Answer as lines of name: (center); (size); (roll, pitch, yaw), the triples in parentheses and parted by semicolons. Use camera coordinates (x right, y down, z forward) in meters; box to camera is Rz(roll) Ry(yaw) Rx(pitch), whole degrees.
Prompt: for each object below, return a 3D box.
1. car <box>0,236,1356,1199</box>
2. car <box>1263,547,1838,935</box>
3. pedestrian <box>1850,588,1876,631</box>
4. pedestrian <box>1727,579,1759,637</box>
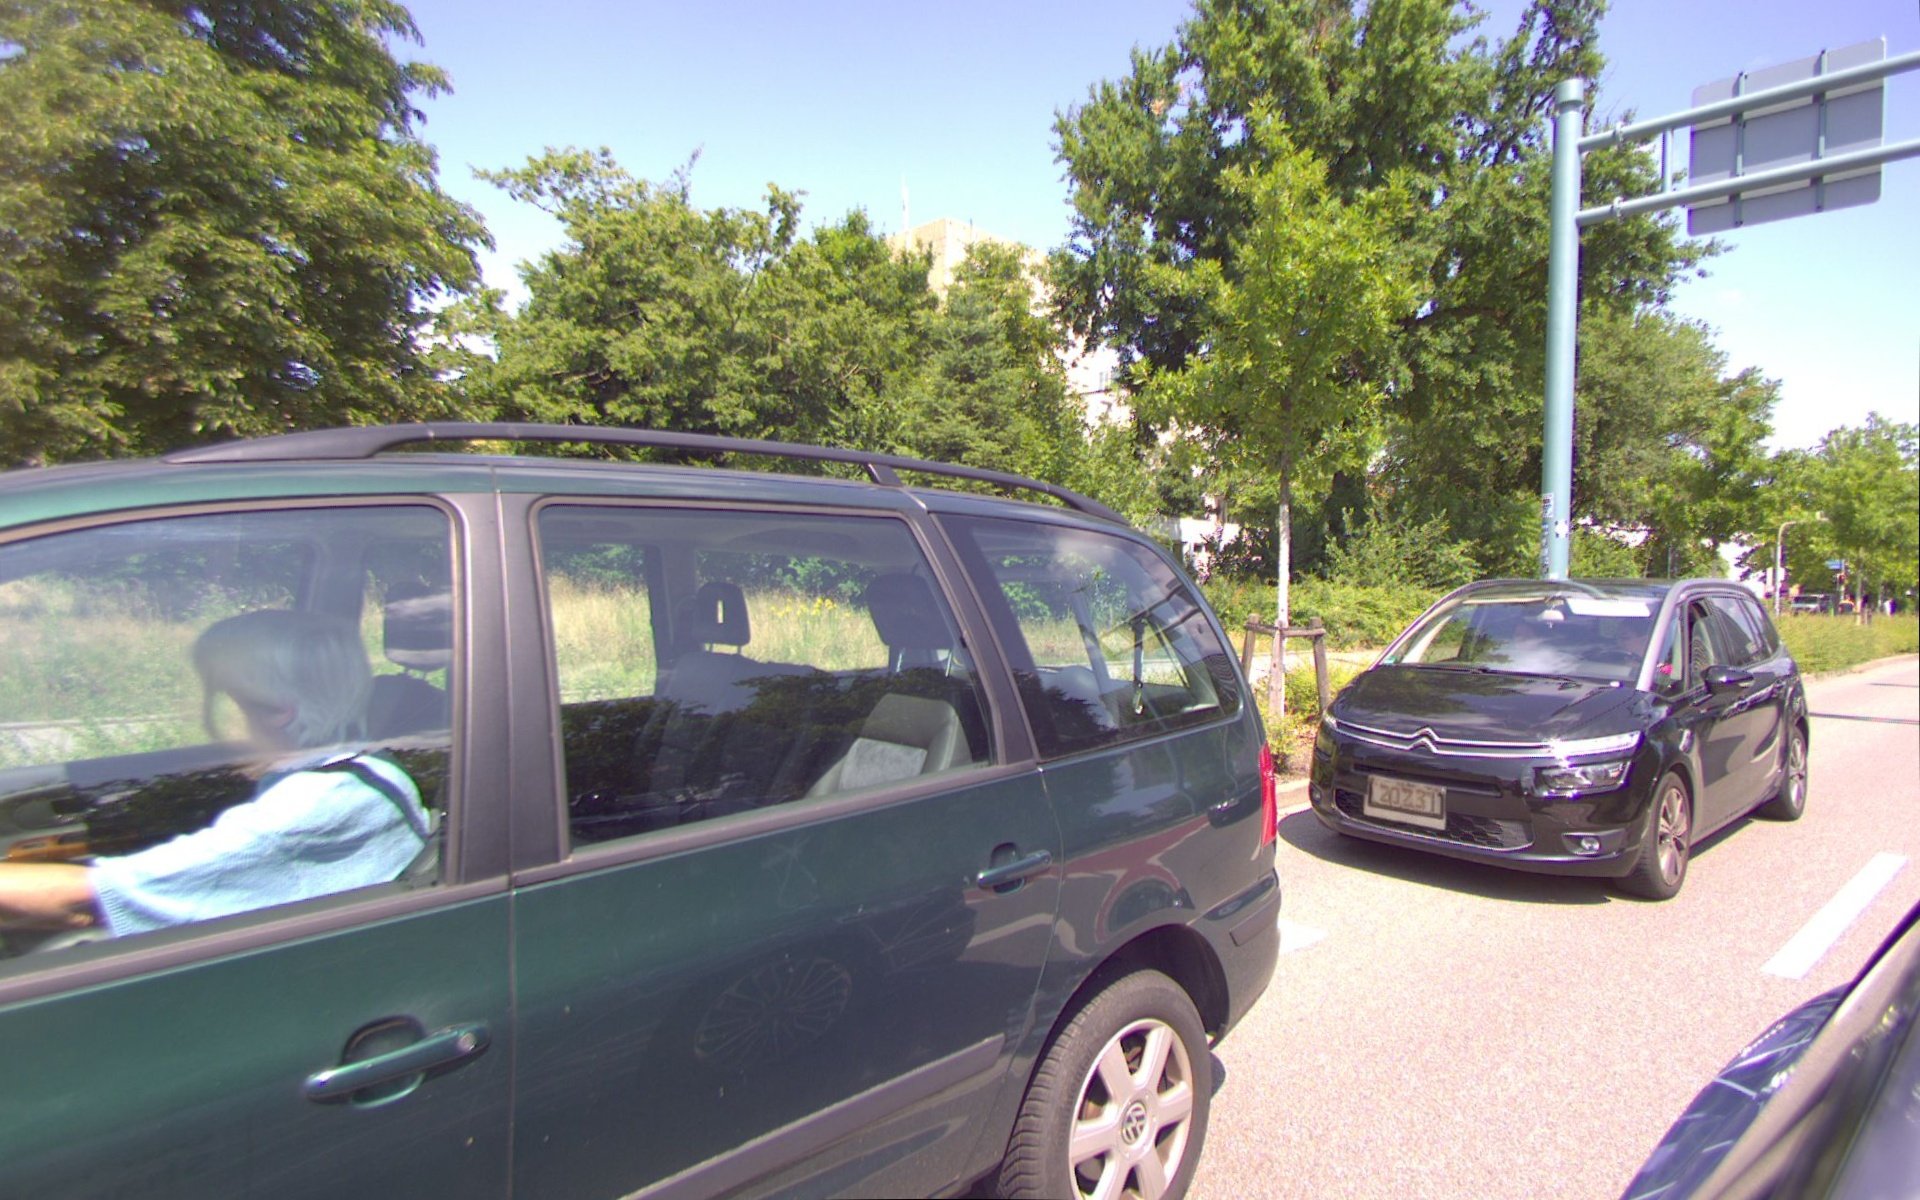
car: (-1.155, 0.526, 1.950); (4.315, 1.737, 1.804); (0, -1, -41)
car: (3.936, 0.605, 6.387); (4.400, 1.628, 1.815); (1, -1, -41)
pedestrian: (38.242, 0.383, 42.877); (0.635, 1.787, 0.876); (2, 1, 32)
pedestrian: (28.527, 0.266, 36.858); (0.842, 2.063, 0.888); (2, 1, 40)
